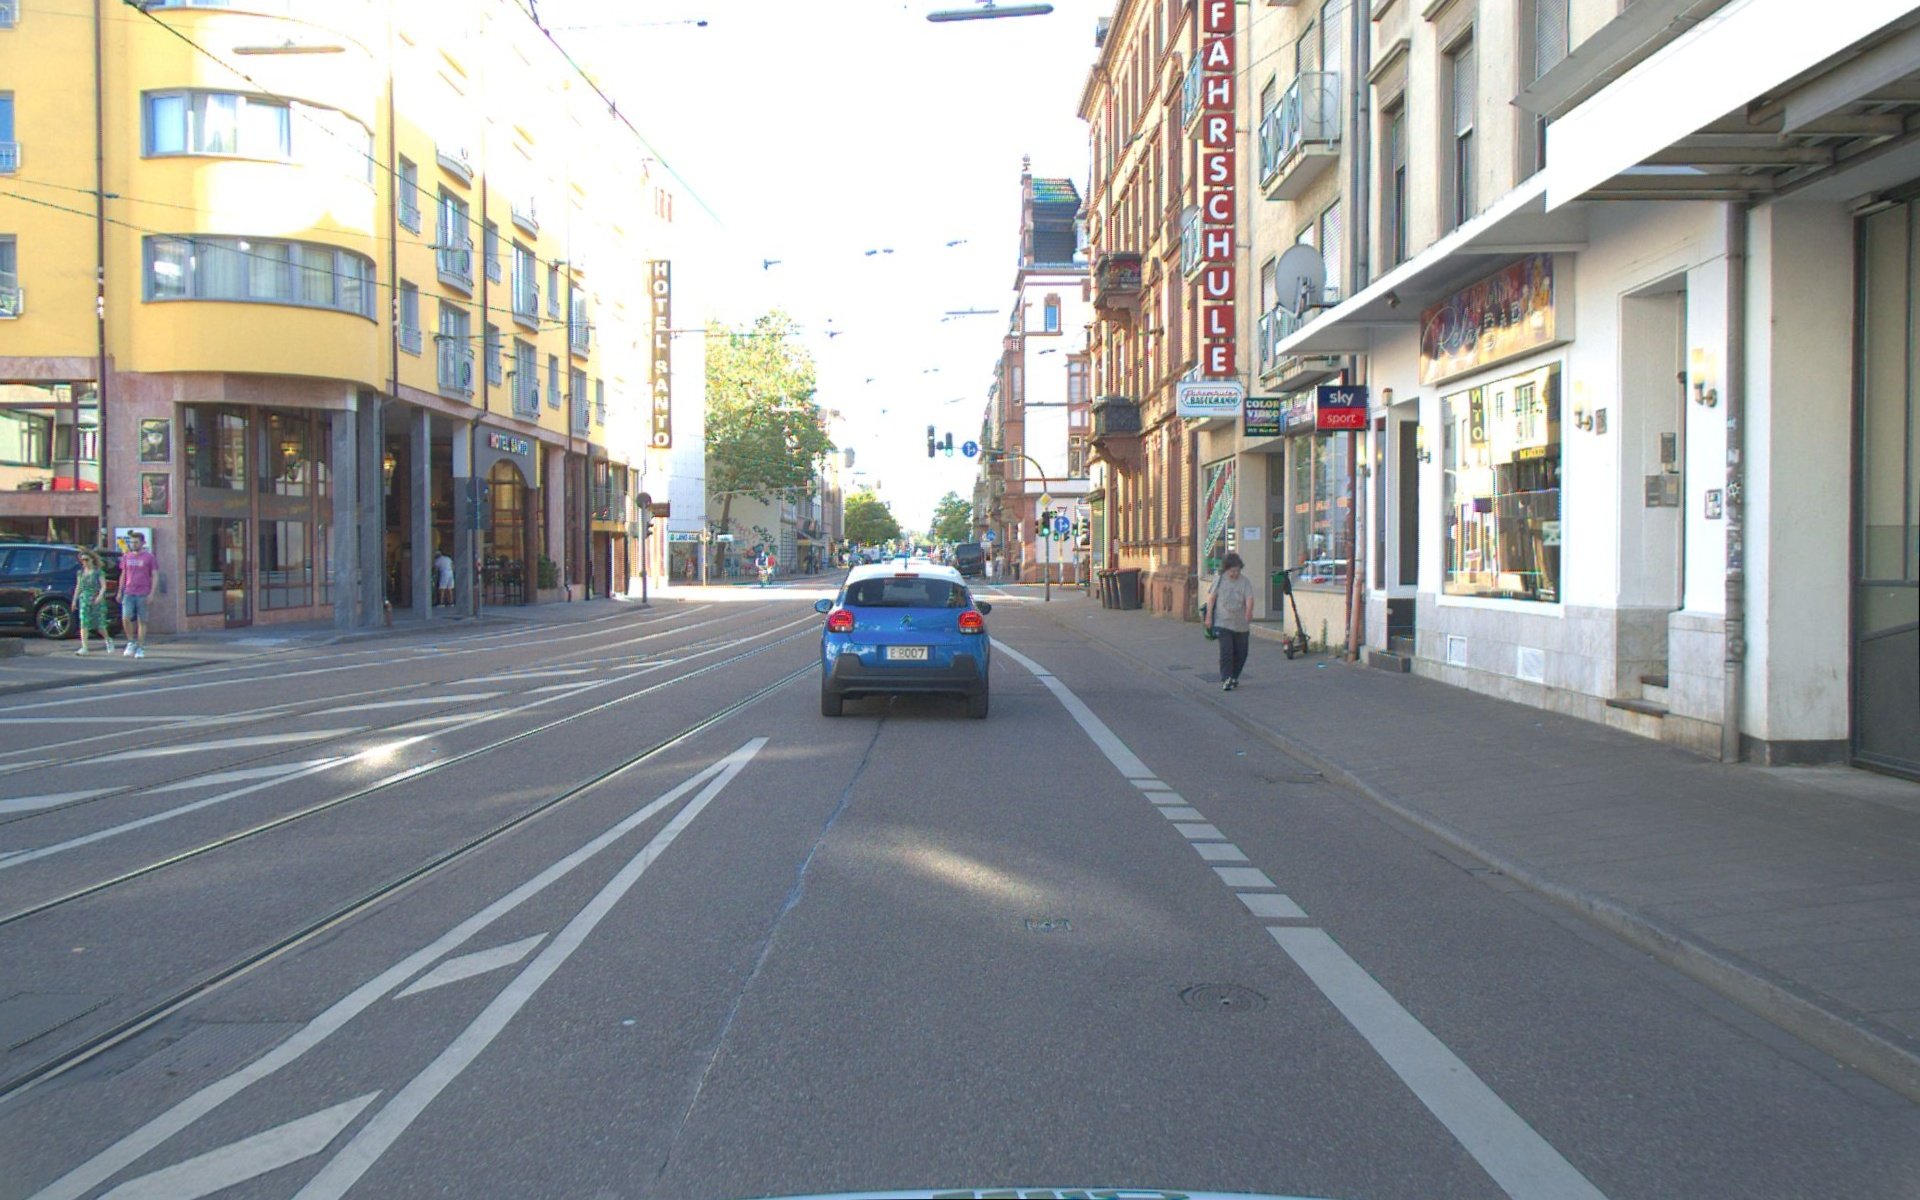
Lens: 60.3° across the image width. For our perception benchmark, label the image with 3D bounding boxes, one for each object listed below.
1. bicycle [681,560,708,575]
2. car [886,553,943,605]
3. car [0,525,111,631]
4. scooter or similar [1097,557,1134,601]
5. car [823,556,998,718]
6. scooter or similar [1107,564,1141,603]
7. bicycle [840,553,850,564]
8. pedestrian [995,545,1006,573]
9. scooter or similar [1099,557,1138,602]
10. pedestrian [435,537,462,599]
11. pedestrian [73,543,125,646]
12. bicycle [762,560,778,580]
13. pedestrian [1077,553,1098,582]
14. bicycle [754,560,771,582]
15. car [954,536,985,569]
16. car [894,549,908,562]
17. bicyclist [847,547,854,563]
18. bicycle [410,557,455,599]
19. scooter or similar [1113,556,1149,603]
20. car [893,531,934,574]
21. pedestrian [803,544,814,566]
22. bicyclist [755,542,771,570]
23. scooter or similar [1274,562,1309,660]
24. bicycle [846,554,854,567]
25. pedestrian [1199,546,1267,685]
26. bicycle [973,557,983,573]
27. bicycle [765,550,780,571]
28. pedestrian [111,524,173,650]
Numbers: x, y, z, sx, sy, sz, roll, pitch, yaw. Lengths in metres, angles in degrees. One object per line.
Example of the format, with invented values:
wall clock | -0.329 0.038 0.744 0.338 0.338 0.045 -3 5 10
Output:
bicycle | -19.031 -2.315 118.460 1.878 1.052 0.665 1 2 25
car | -1.399 -0.662 50.251 1.633 1.504 3.999 -1 2 -2
car | -17.735 -0.412 29.571 4.147 1.843 1.785 0 1 -1
scooter or similar | 4.399 -0.591 46.792 0.879 1.168 0.547 -4 2 -3
car | -0.587 0.300 17.735 1.640 1.503 3.998 1 2 -3
scooter or similar | 4.457 -0.455 44.925 0.775 0.973 0.680 -4 2 -3
bicycle | -15.139 -5.474 218.067 1.099 1.342 3.640 -1 2 -6
pedestrian | 2.593 -2.621 106.332 0.691 1.813 0.672 0 1 -3
scooter or similar | 4.387 -0.567 45.776 0.915 1.168 0.650 -4 2 -3
pedestrian | -15.124 -0.951 48.919 0.549 1.800 0.723 0 1 3
pedestrian | -13.898 -0.098 26.696 0.560 1.645 0.499 0 1 -3
bicycle | -10.633 -1.705 92.697 0.716 1.084 2.061 0 2 -2
pedestrian | 6.504 -1.683 84.452 0.920 1.482 0.822 0 1 -6
bicycle | -10.135 -1.512 85.045 0.716 1.107 2.061 0 2 -3
car | 0.712 -3.630 126.729 2.225 2.479 5.719 0 2 -1
car | -8.152 -6.111 227.603 1.953 1.774 4.562 0 2 -2
bicyclist | -10.191 -4.218 153.890 0.668 1.509 0.778 0 2 -2
bicycle | -15.741 -0.677 49.402 0.569 1.223 2.082 0 2 3
scooter or similar | 4.554 -0.550 44.141 0.775 1.168 0.790 -4 2 -3
car | -2.316 -2.340 81.312 1.953 2.048 3.999 -1 2 -2
pedestrian | -12.285 -3.649 134.462 0.668 1.796 1.026 0 1 9
bicyclist | -10.111 -2.257 84.955 0.709 1.405 1.227 1 2 -3
scooter or similar | 4.583 0.132 22.835 0.401 1.304 1.285 0 1 15
bicycle | -10.191 -3.672 153.869 0.679 1.140 2.083 0 2 -2
pedestrian | 3.185 0.164 19.340 0.635 1.587 0.781 0 1 -2
bicycle | 1.151 -2.252 106.438 0.423 0.964 1.760 0 2 -8
bicycle | -10.803 -2.290 95.199 0.716 1.204 2.061 0 2 -2
pedestrian | -13.092 -0.211 26.478 0.624 1.980 0.709 0 1 -2
